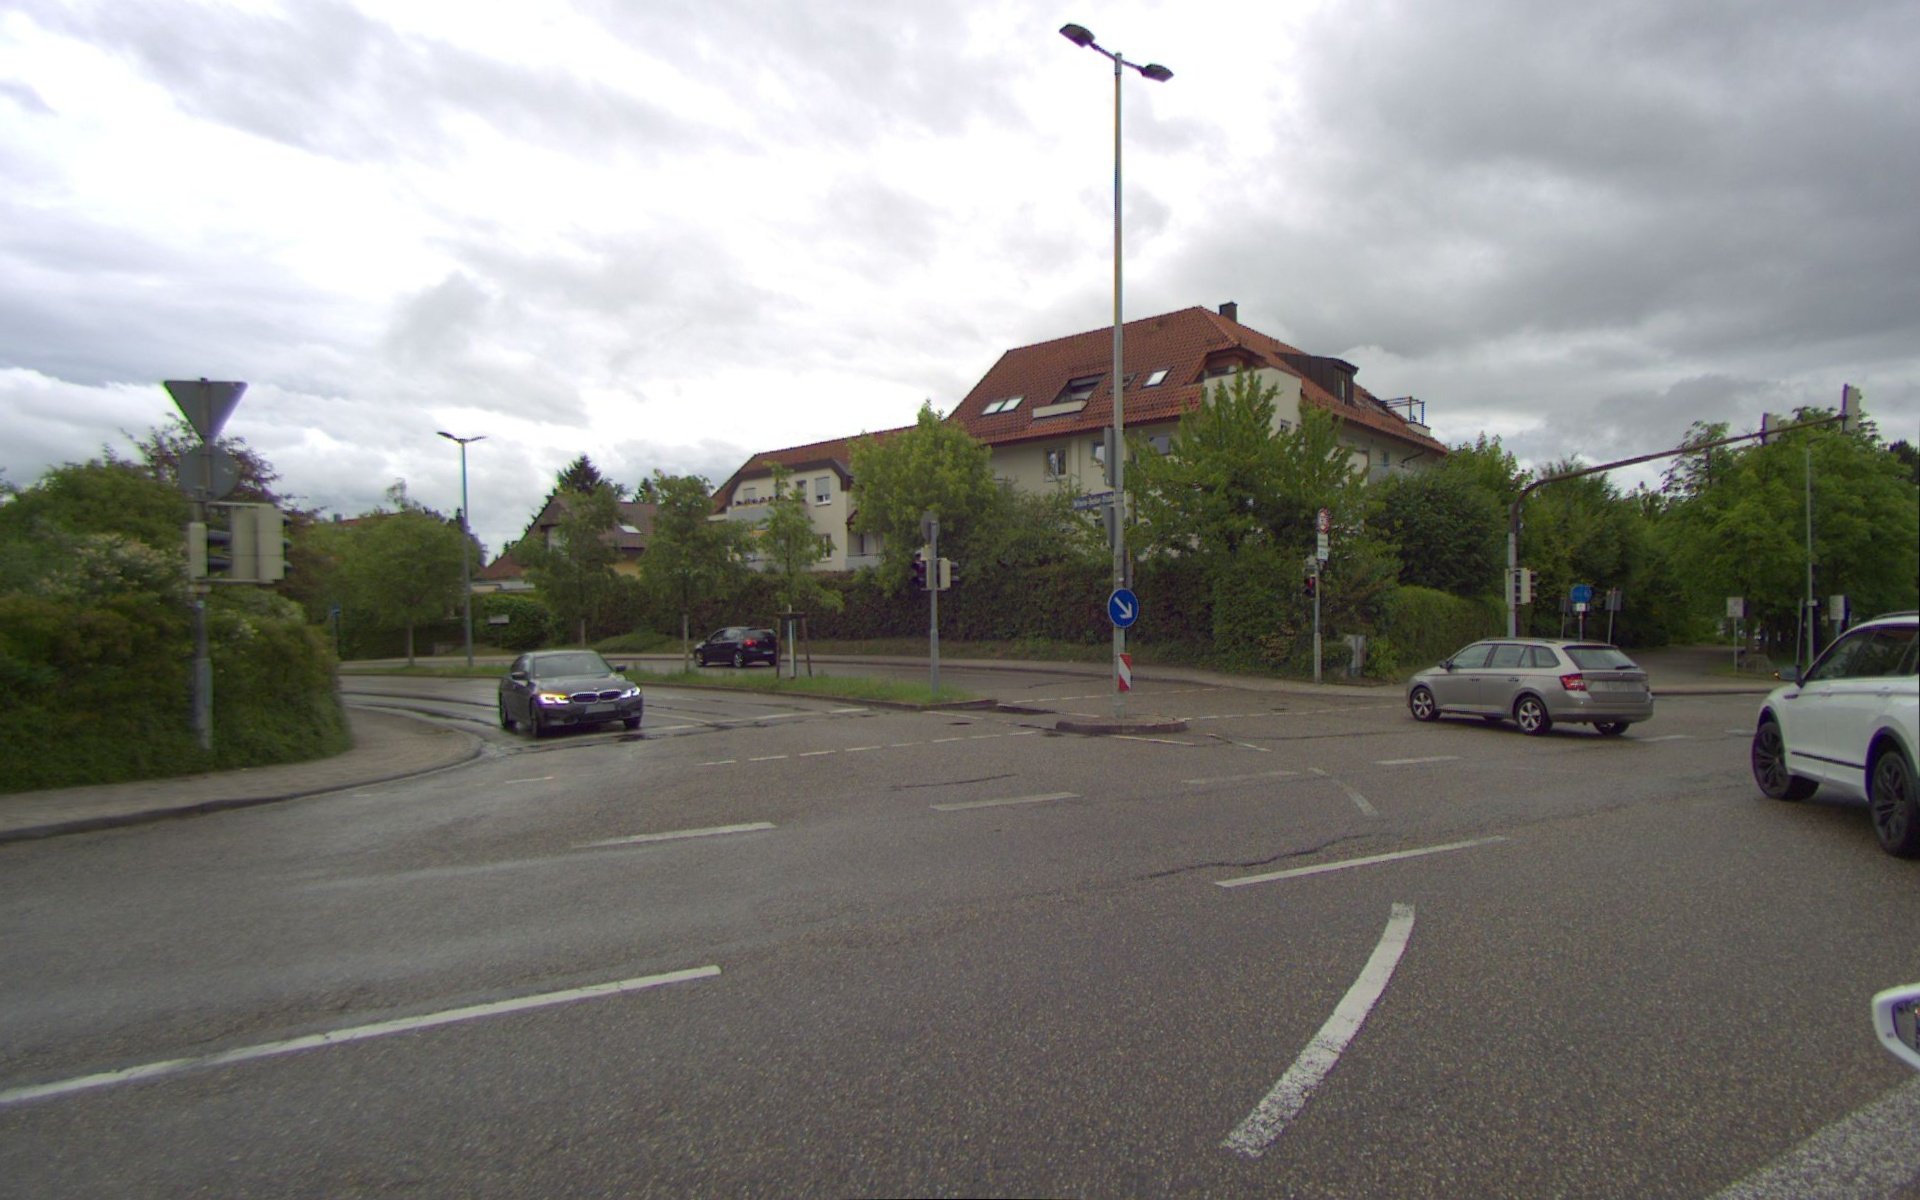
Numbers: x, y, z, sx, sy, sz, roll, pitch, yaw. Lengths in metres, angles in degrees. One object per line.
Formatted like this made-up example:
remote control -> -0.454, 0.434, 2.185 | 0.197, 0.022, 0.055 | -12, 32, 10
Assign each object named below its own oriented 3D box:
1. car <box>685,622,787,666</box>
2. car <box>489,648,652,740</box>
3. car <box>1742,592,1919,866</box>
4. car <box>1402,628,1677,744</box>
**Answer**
car -> -8.442, 1.614, 37.724 | 3.940, 1.499, 1.757 | 0, -1, 41
car -> -7.353, 1.666, 18.692 | 1.759, 1.411, 4.391 | -2, -2, -36
car -> 7.578, 0.850, 7.574 | 1.735, 1.718, 4.269 | 1, -1, 25
car -> 9.216, 1.294, 16.390 | 1.772, 1.610, 3.918 | 1, -1, -11
